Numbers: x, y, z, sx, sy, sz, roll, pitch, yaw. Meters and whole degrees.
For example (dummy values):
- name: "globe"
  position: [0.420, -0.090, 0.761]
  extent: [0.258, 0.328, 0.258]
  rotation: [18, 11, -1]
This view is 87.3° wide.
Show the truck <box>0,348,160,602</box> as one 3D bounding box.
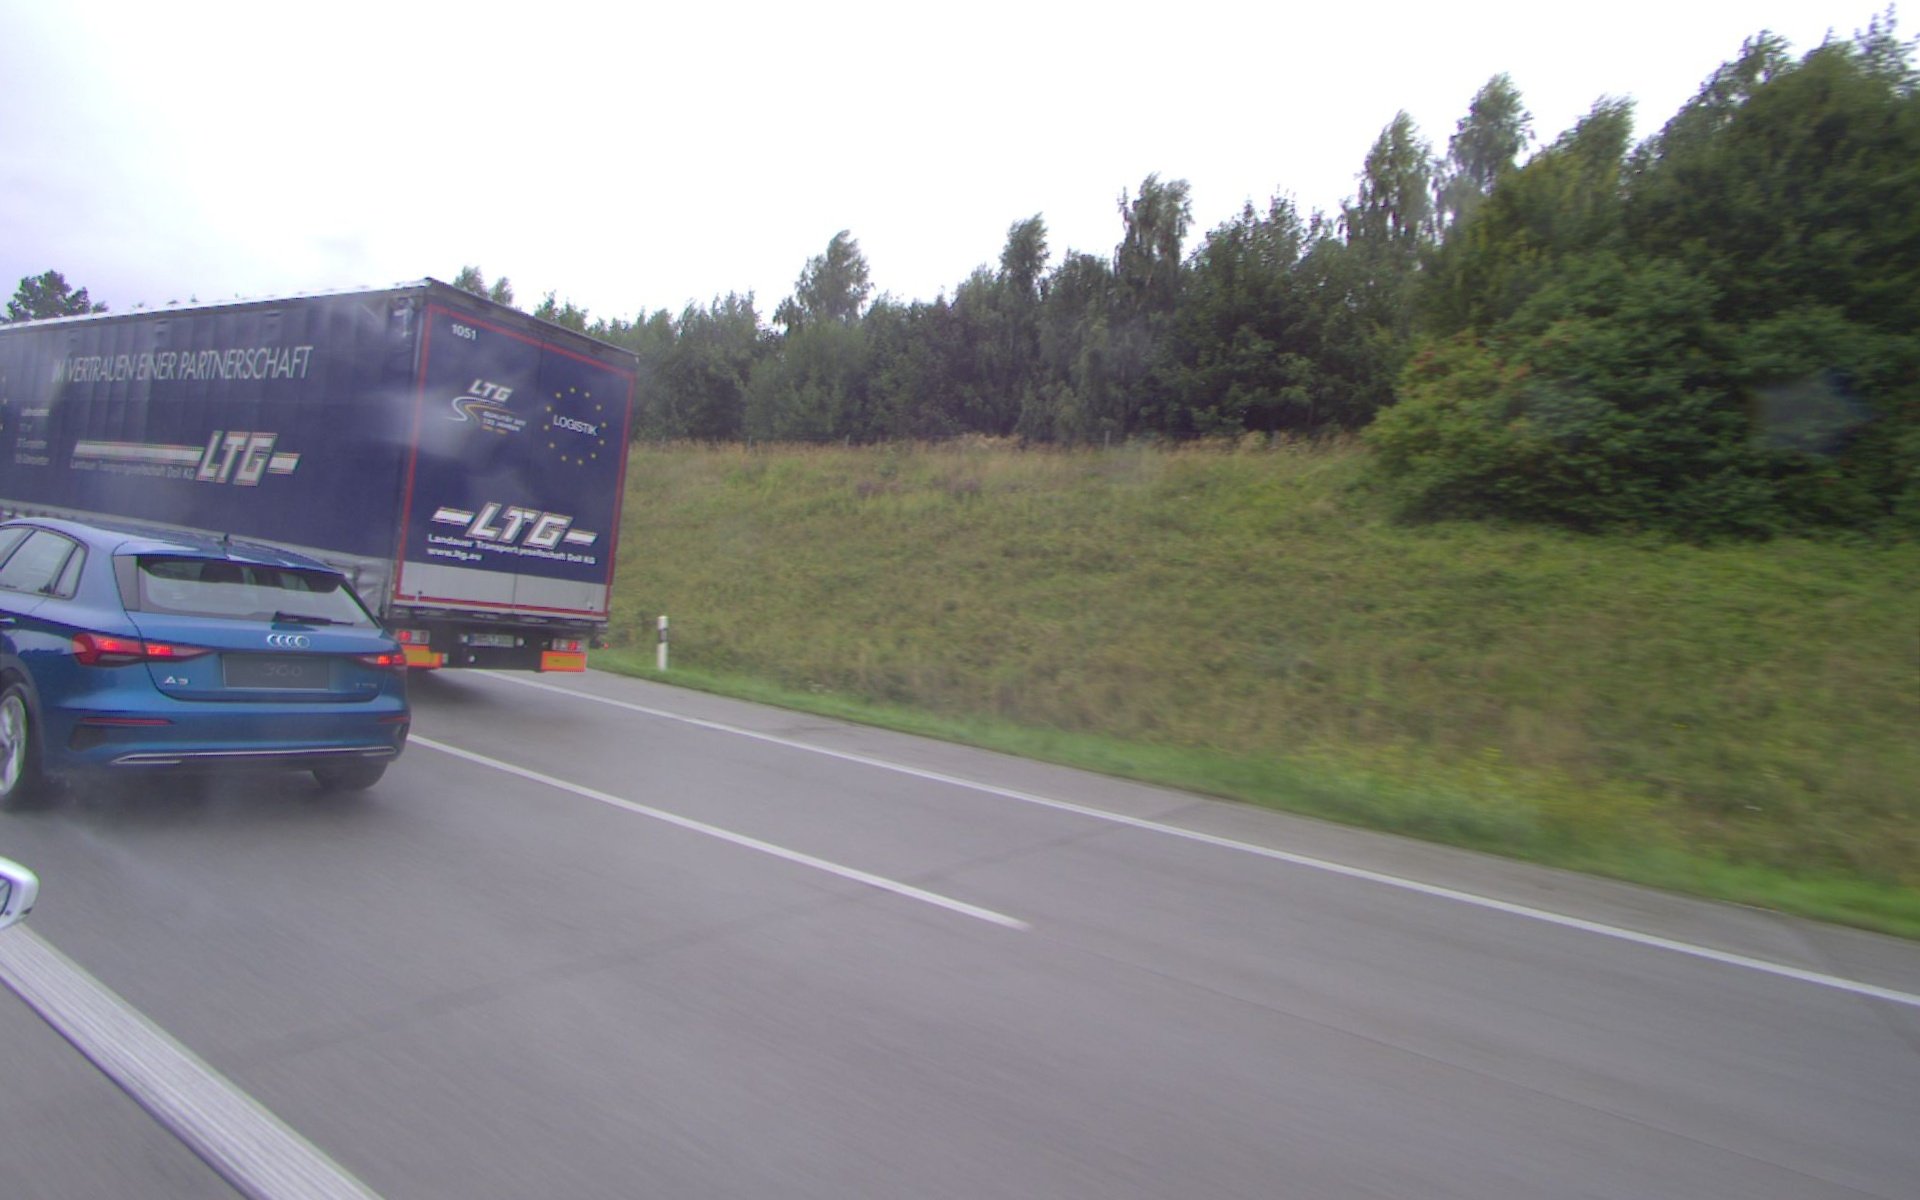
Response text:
- name: "truck"
  position: [-17.971, -2.354, 18.861]
  extent: [5.593, 4.000, 2.640]
  rotation: [7, -1, 33]

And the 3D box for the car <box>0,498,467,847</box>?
- name: "car"
  position: [-5.306, 0.202, 6.276]
  extent: [4.595, 1.476, 1.731]
  rotation: [6, -1, 32]

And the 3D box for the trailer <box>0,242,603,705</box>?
- name: "trailer"
  position: [-11.489, -1.804, 14.754]
  extent: [14.954, 4.431, 2.711]
  rotation: [6, -1, 32]
